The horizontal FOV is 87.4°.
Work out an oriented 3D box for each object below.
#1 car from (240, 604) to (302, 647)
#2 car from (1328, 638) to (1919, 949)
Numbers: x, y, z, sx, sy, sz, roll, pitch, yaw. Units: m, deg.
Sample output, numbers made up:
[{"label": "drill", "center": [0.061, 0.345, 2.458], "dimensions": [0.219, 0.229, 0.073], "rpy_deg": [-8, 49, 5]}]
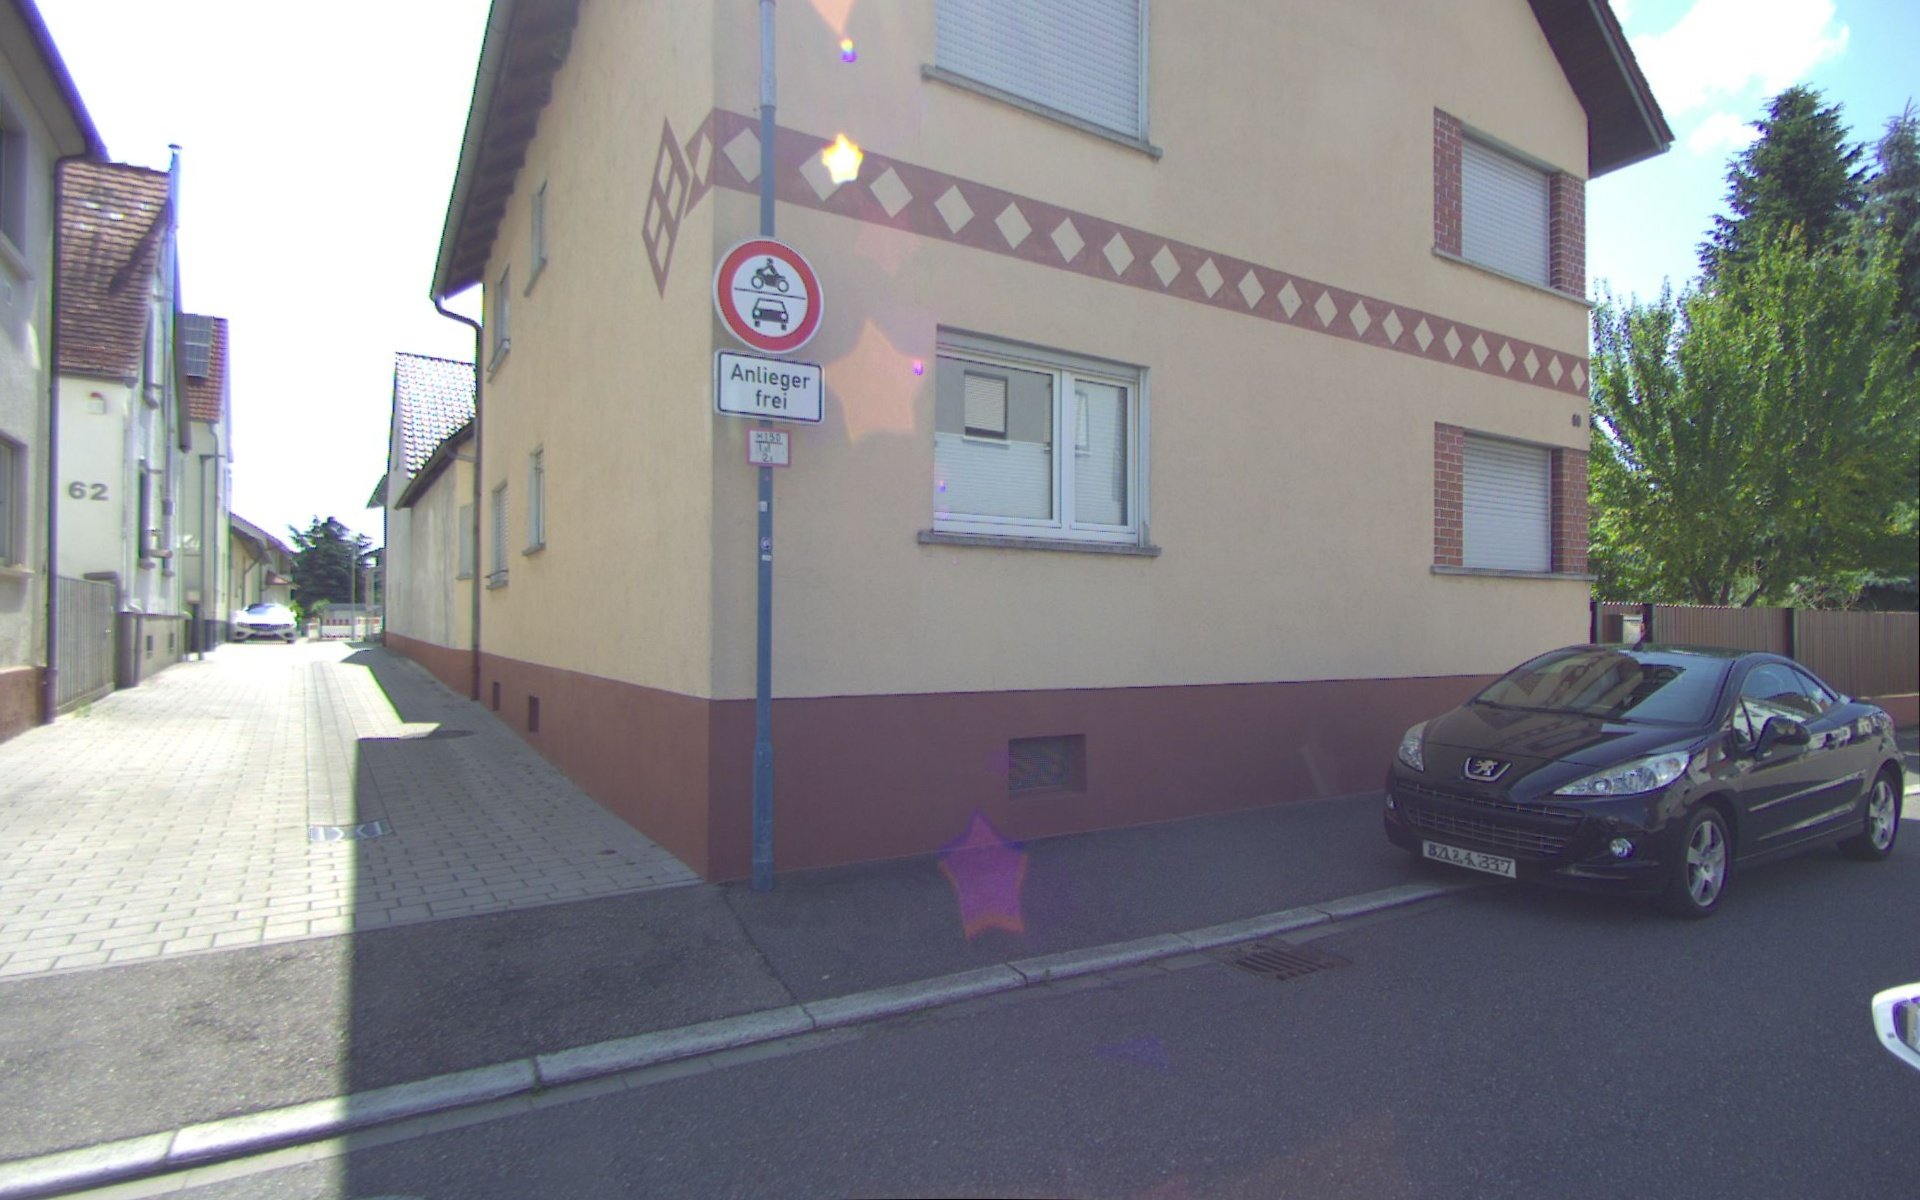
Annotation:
[{"label": "car", "center": [-25.702, 0.922, 37.438], "dimensions": [1.767, 1.468, 4.316], "rpy_deg": [3, -2, -35]}, {"label": "car", "center": [4.462, 0.981, 6.536], "dimensions": [4.019, 1.392, 1.753], "rpy_deg": [1, 0, -31]}]
